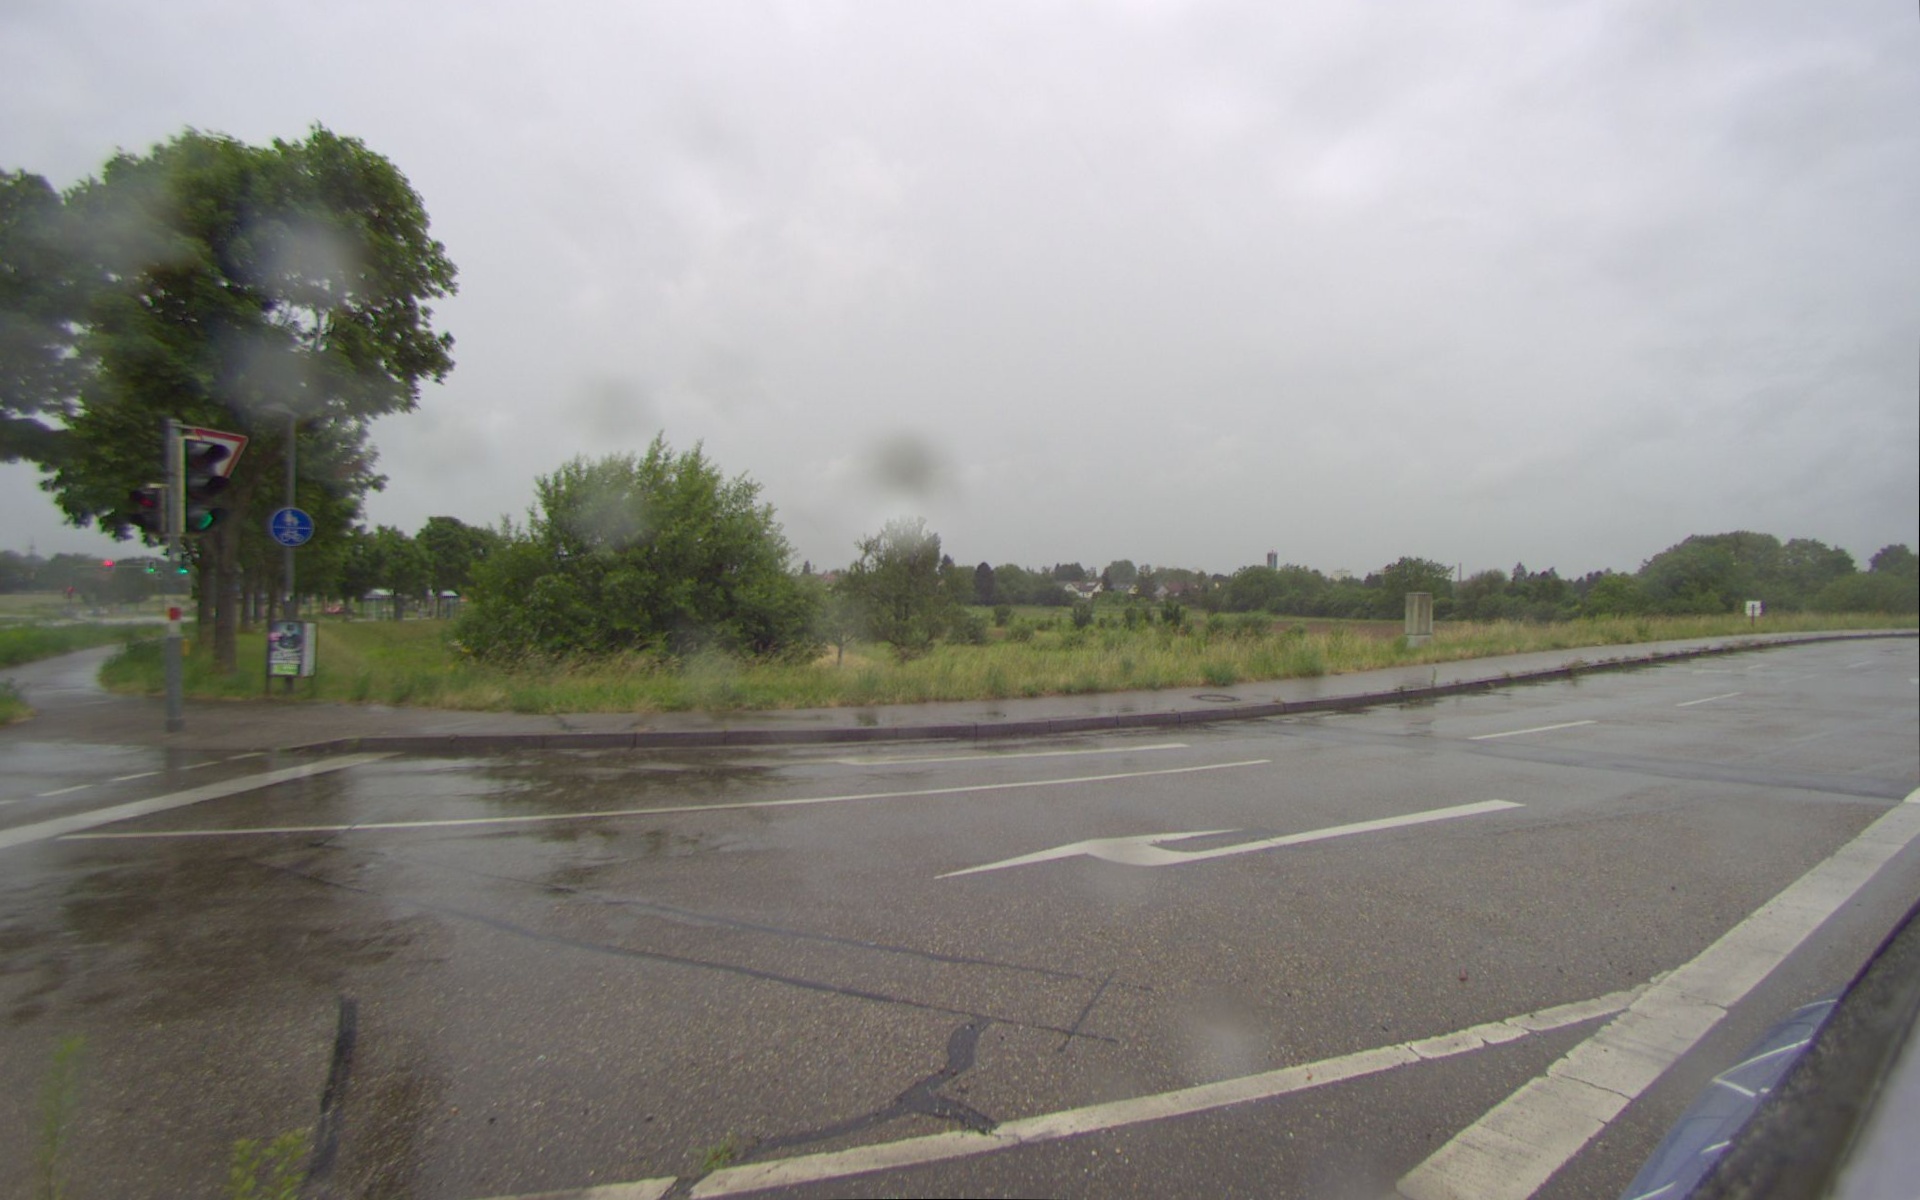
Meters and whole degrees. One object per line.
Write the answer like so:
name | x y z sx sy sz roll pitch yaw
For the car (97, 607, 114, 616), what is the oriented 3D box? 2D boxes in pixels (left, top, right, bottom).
car | -134.602 1.765 159.429 1.845 1.371 4.050 0 1 -37
